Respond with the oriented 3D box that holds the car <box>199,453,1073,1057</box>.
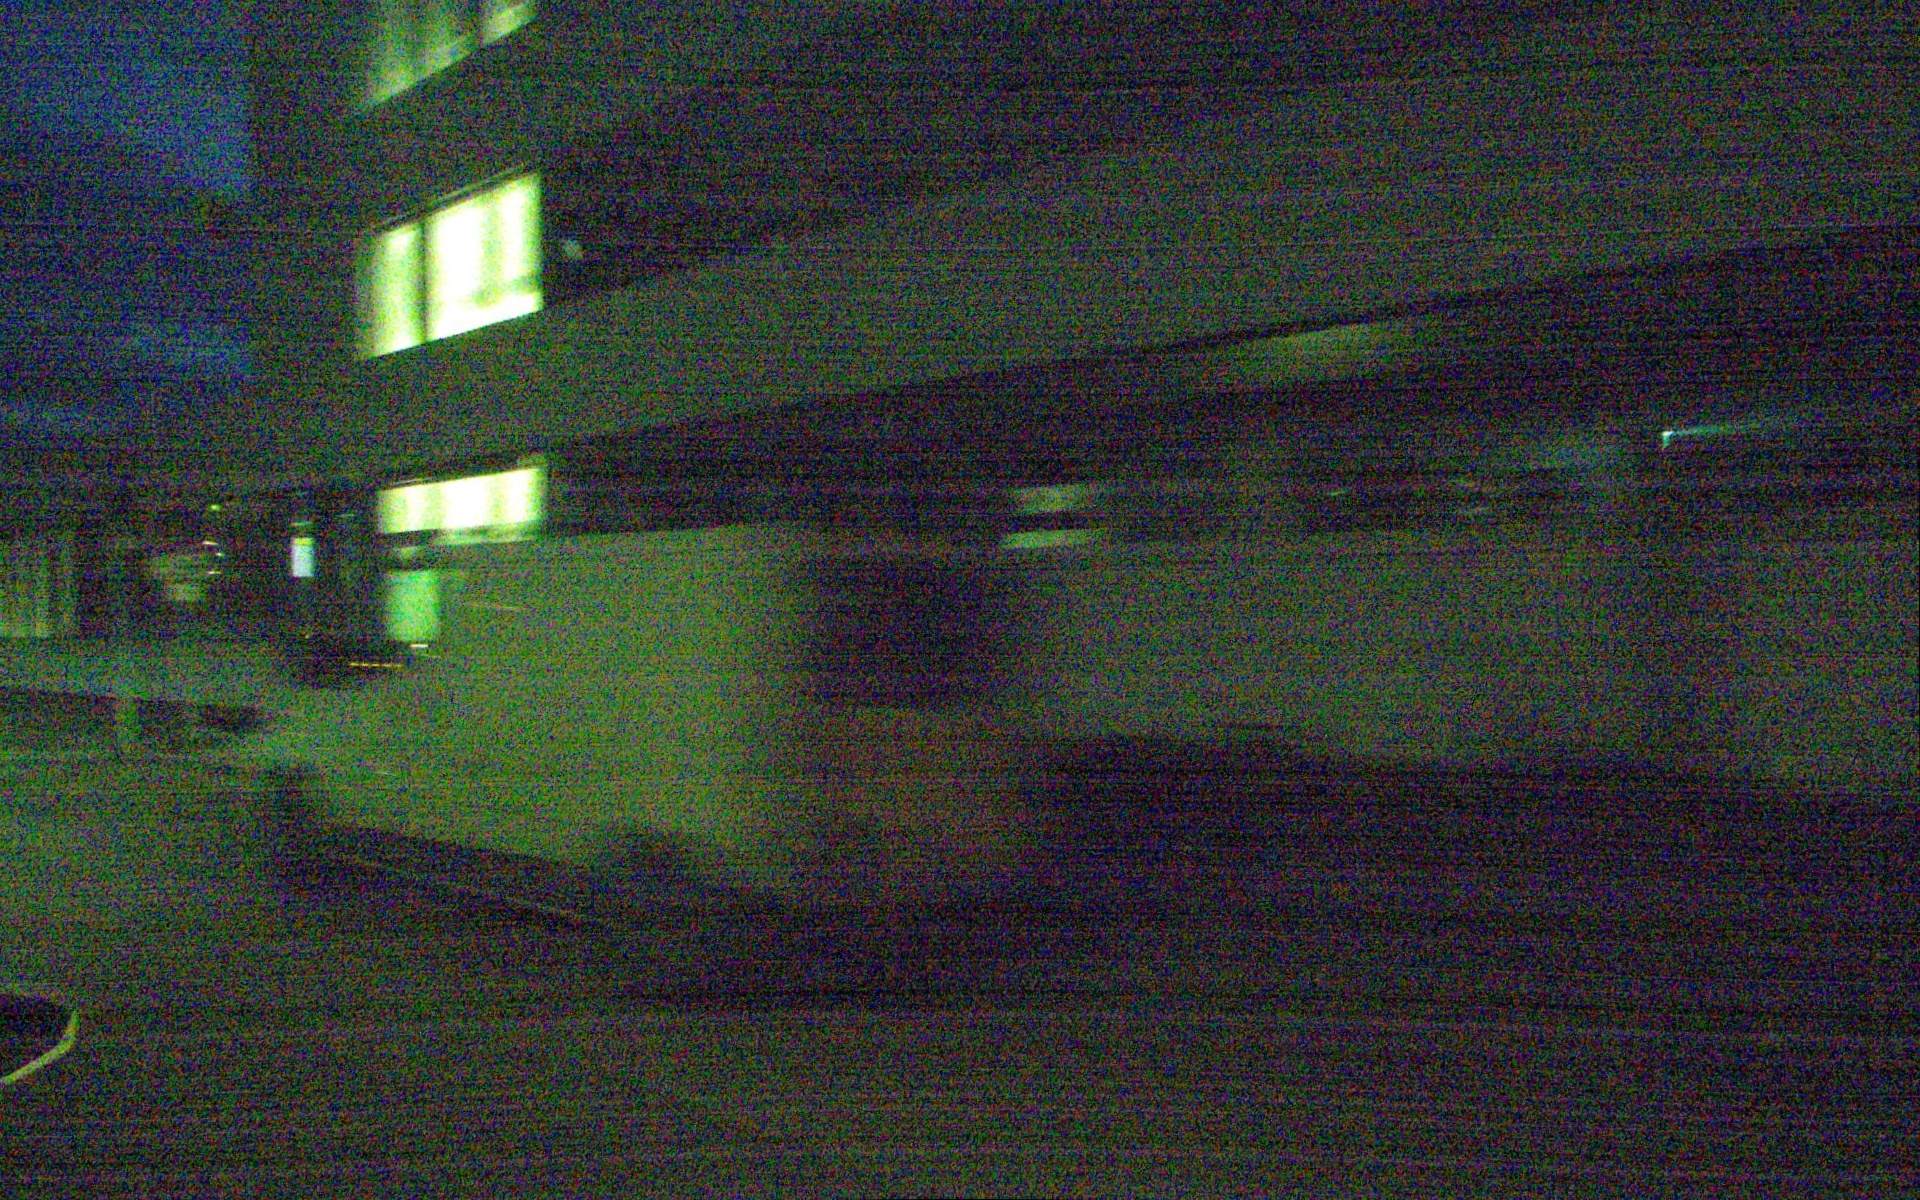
[{"bbox_3d":[-1.992,0.550,5.539,4.842,2.040,1.989,-1,0,33],"label":"car"}]
